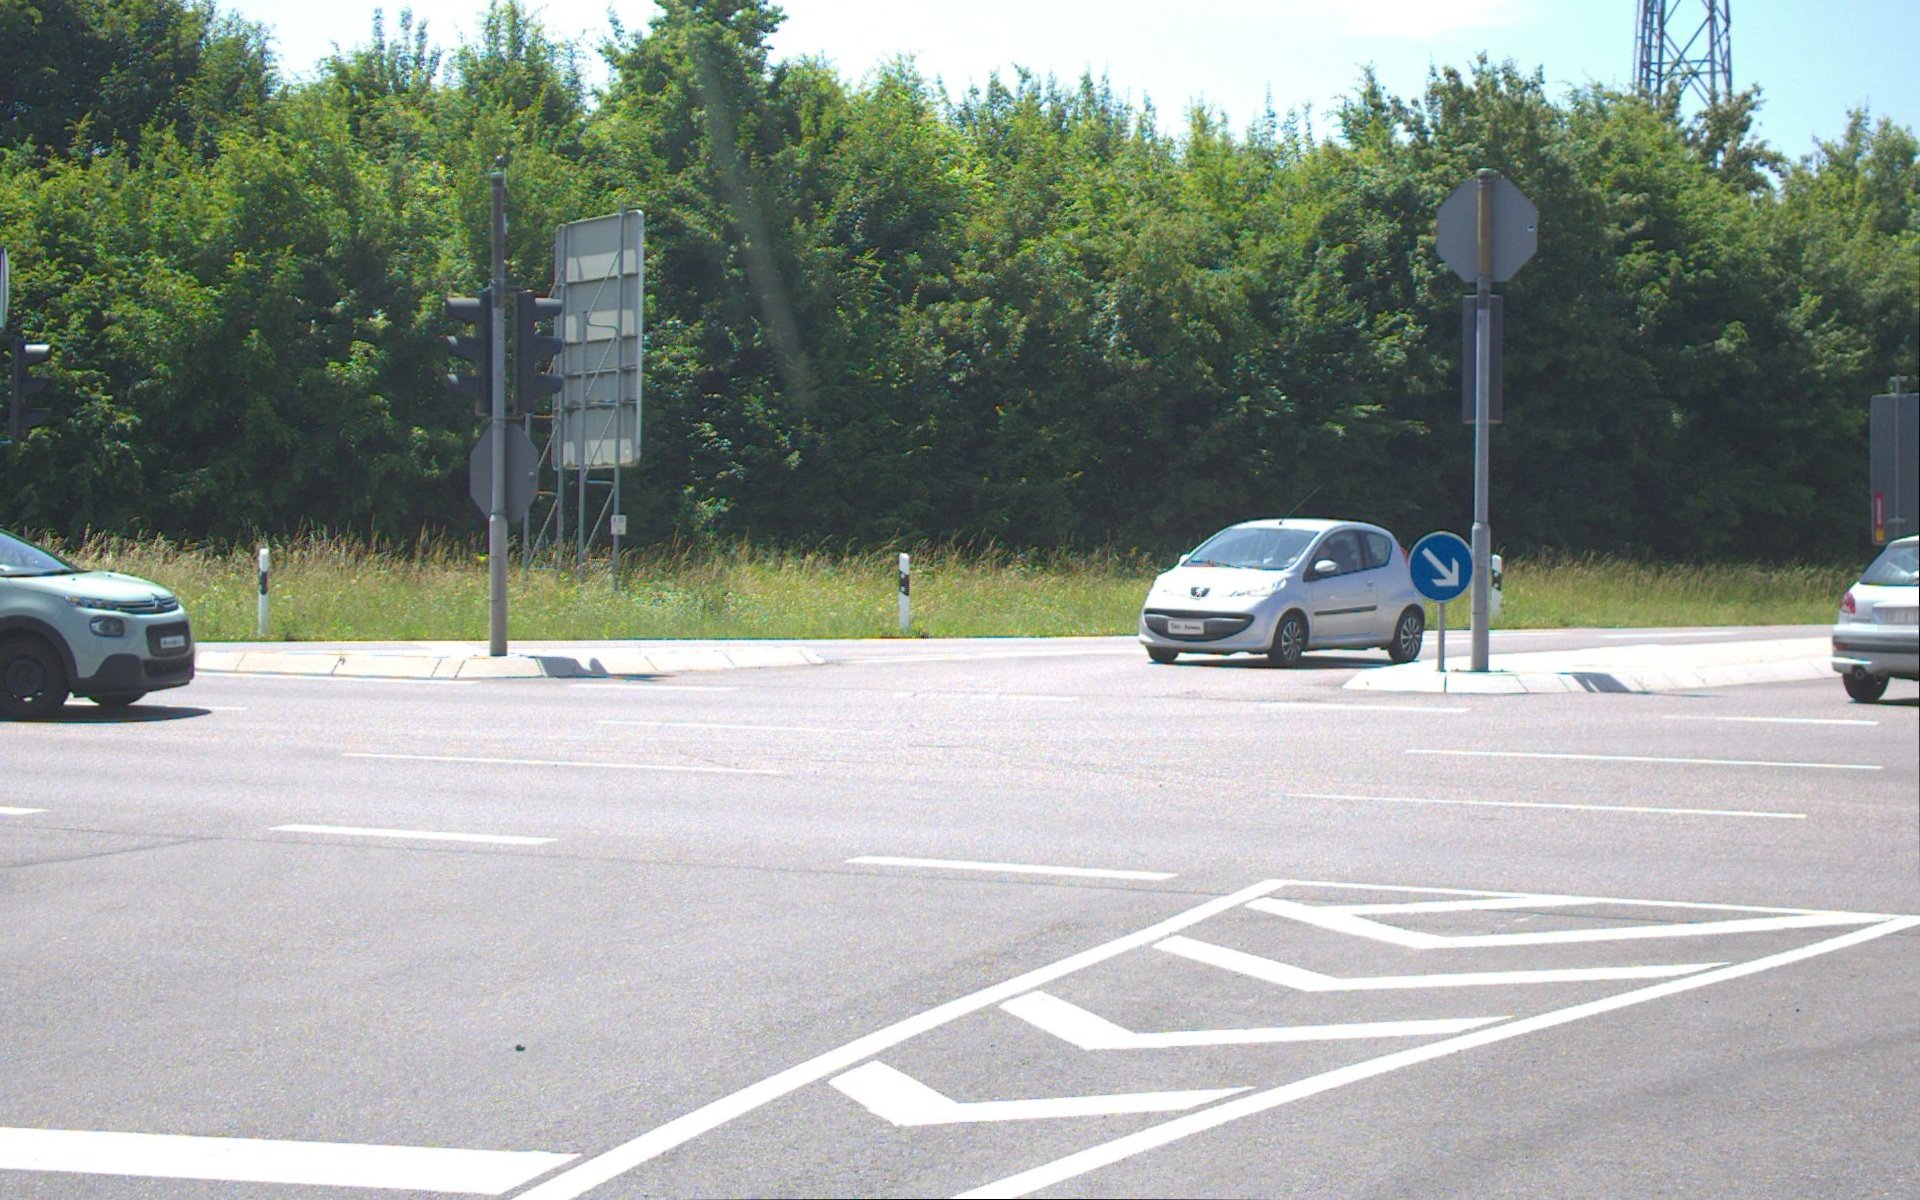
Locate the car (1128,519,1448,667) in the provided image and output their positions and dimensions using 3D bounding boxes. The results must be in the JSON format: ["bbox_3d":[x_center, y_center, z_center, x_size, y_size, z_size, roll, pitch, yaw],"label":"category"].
[{"bbox_3d":[3.350,-0.109,34.707,1.568,1.366,3.523,2,3,38],"label":"car"}]

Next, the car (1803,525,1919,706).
[{"bbox_3d":[8.857,0.086,28.810,1.817,1.408,3.774,2,3,44],"label":"car"}]

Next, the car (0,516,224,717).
[{"bbox_3d":[-7.764,0.084,25.915,3.976,1.399,1.734,1,2,12],"label":"car"}]
